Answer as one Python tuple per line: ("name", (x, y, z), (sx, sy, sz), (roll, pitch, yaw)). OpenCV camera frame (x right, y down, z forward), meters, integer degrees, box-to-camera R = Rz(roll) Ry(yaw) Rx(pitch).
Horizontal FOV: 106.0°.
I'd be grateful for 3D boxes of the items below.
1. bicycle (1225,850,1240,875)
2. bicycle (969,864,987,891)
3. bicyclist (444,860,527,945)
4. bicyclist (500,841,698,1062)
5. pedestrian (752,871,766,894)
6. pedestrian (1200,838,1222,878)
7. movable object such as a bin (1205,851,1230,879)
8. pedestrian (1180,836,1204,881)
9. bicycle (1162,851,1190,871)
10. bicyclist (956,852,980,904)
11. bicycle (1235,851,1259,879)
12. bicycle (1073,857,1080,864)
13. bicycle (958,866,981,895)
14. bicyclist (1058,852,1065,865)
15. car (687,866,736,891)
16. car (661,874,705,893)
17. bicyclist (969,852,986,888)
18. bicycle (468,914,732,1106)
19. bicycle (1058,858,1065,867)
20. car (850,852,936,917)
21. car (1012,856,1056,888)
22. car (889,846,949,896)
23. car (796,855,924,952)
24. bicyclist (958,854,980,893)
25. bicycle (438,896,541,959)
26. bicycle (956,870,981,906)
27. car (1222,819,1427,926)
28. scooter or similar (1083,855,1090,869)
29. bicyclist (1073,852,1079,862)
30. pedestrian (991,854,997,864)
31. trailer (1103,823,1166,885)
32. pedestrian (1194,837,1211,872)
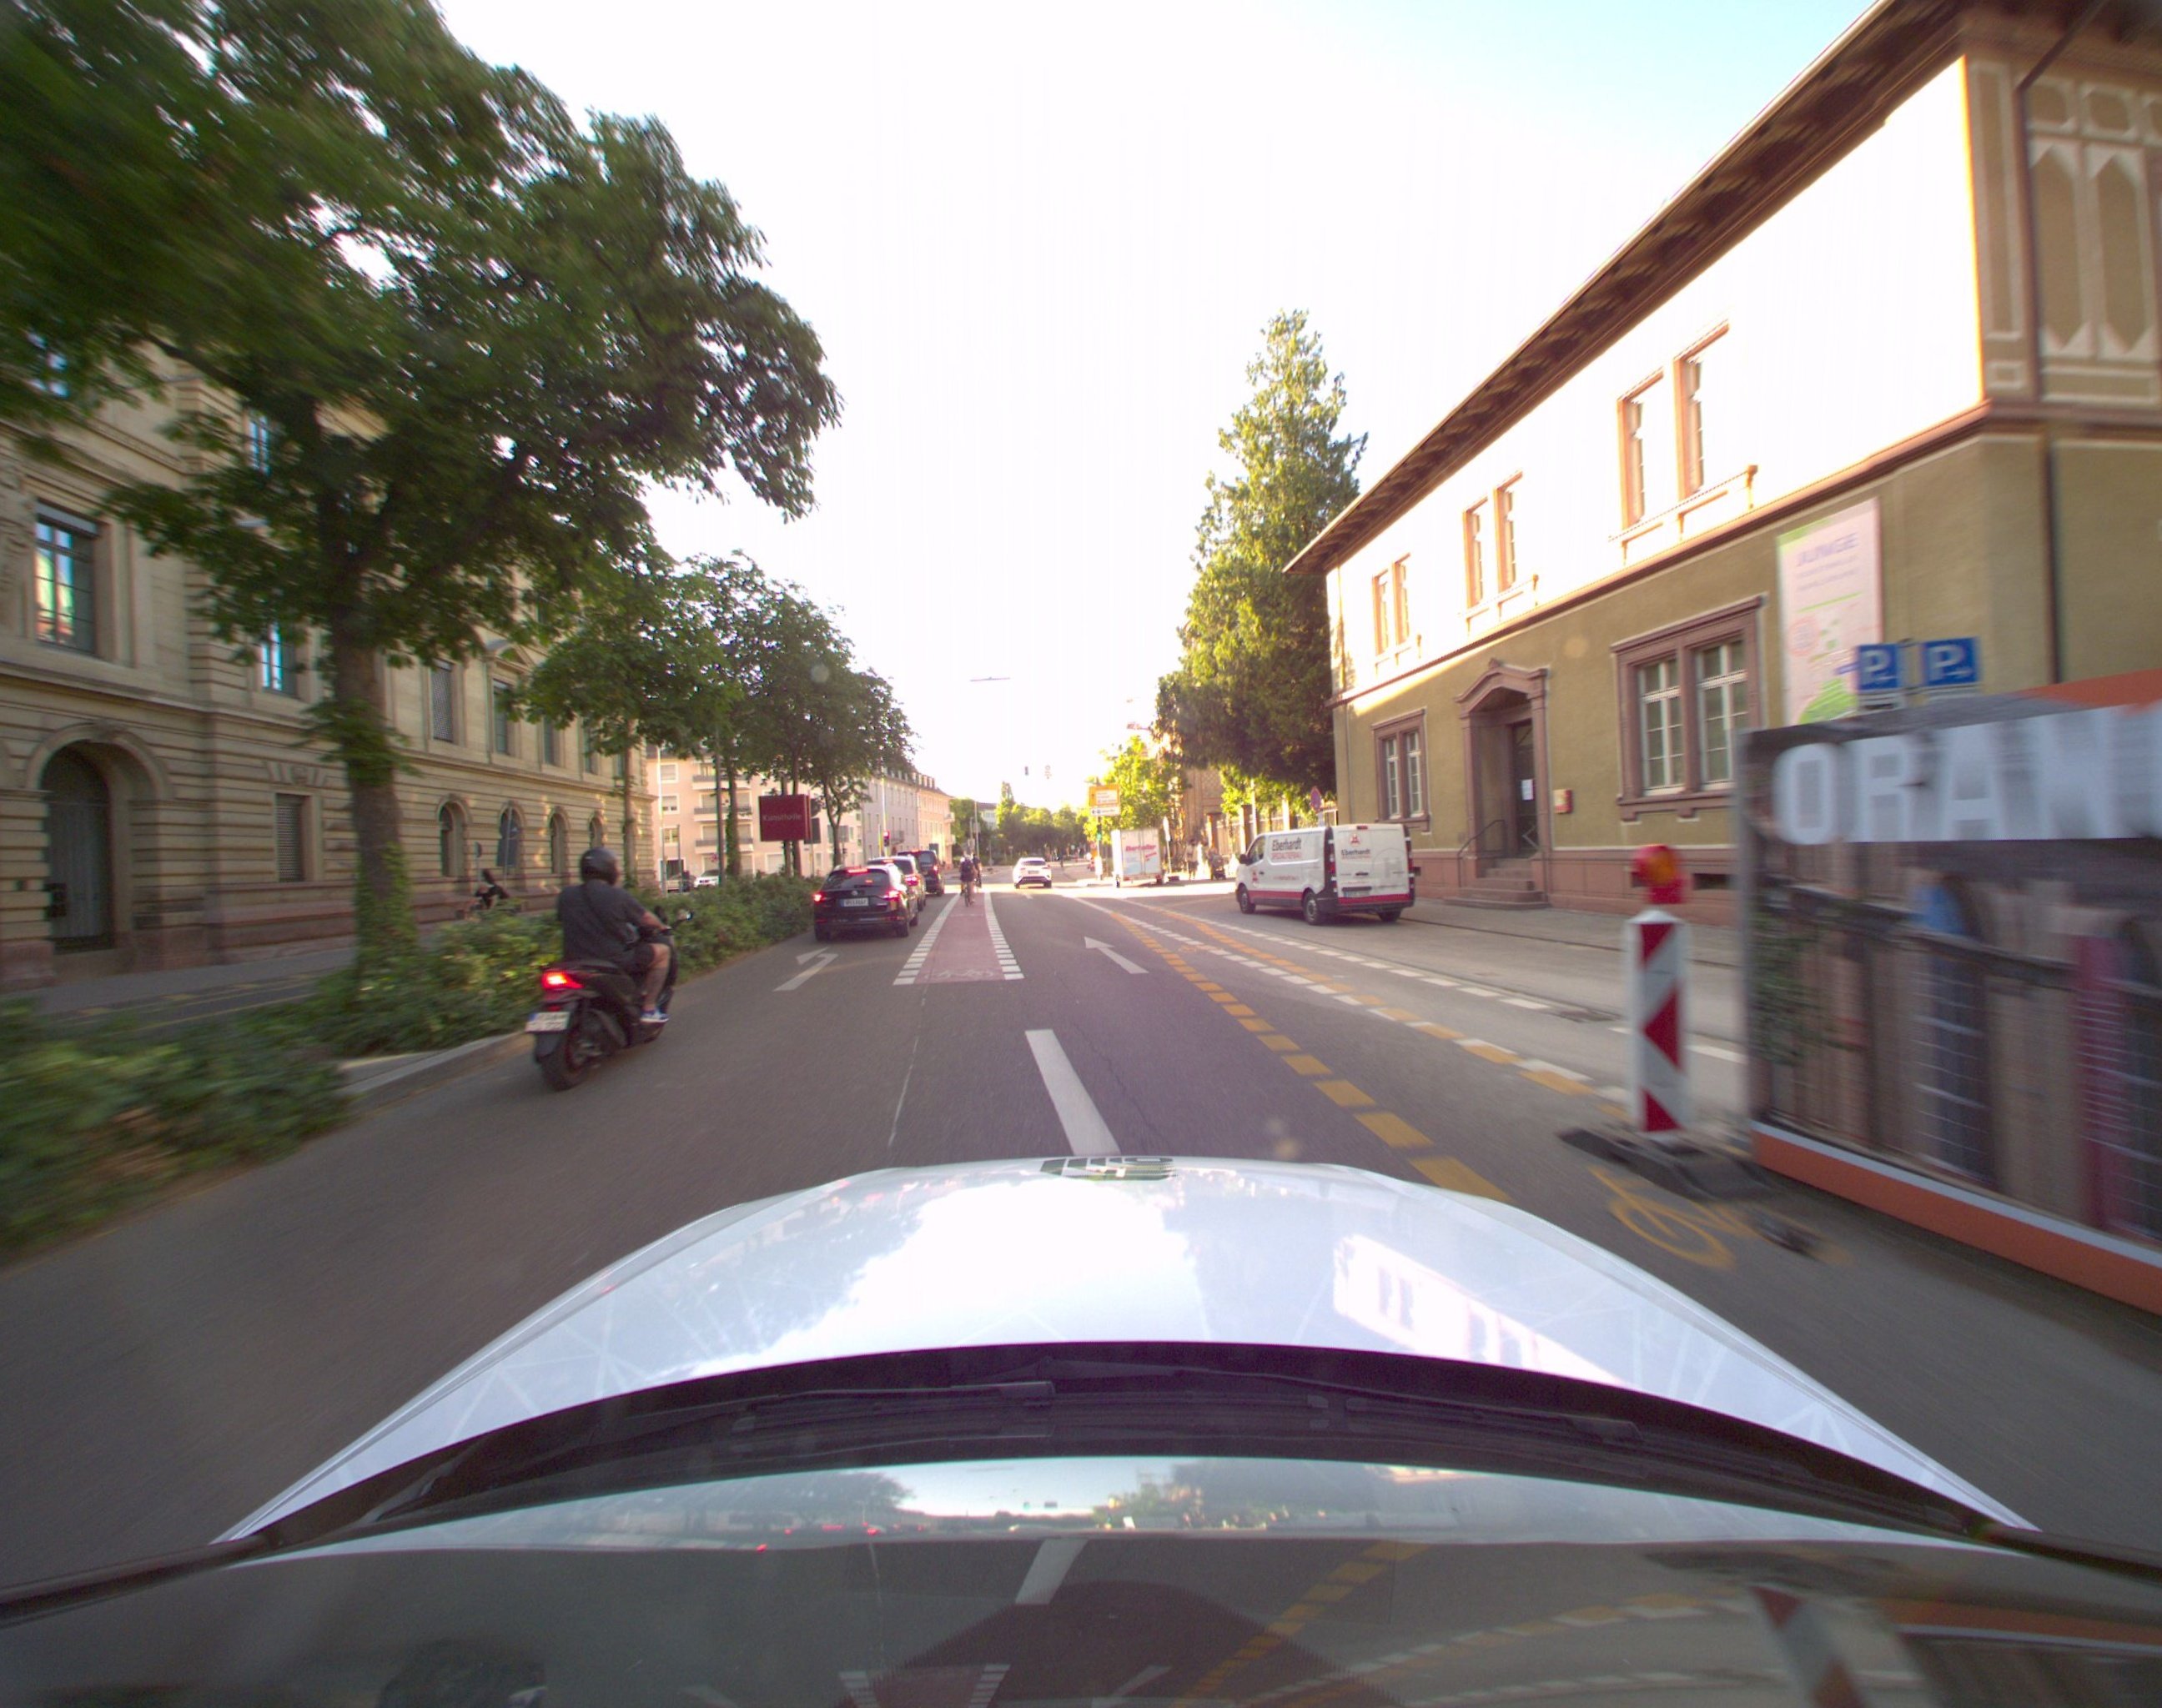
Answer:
("bicycle", (6.961, 0.370, 37.388), (0.273, 1.105, 1.531), (-5, 0, -1))
("bicycle", (-4.775, 1.066, 37.741), (0.641, 1.155, 2.074), (-2, 0, -4))
("bicyclist", (-13.876, 1.092, 19.014), (0.880, 1.834, 1.283), (-6, 0, -6))
("bicyclist", (-3.669, 0.681, 6.334), (0.866, 1.523, 1.228), (-1, 0, -7))
("pedestrian", (-22.937, 2.045, 58.015), (0.629, 1.583, 0.818), (0, 0, -1))
("pedestrian", (5.753, 0.172, 36.120), (0.682, 1.701, 0.692), (-4, 1, -7))
("movable object such as a bin", (5.925, 0.474, 35.314), (0.711, 1.117, 1.048), (-5, 1, -8))
("pedestrian", (4.878, 0.176, 35.742), (0.715, 1.894, 0.887), (-4, 1, -9))
("bicycle", (5.393, 0.405, 46.211), (1.464, 1.039, 0.478), (-4, 0, -6))
("bicyclist", (-3.695, 0.776, 26.687), (0.671, 1.652, 0.885), (-2, 0, -6))
("bicycle", (6.966, 0.444, 34.301), (0.394, 1.130, 1.924), (-3, 0, -6))
("bicycle", (-0.758, 0.975, 128.820), (0.748, 1.026, 1.874), (-2, -1, 10))
("bicycle", (-4.794, 1.117, 35.158), (0.827, 1.143, 1.967), (-2, 0, -4))
("bicyclist", (-2.397, 0.535, 100.958), (0.633, 1.614, 1.285), (-2, 0, 3))
("car", (-29.743, 1.941, 65.702), (1.989, 1.686, 4.609), (-3, 0, -3))
("car", (-31.983, 2.328, 65.571), (1.602, 1.310, 3.996), (-3, 0, -3))
("bicyclist", (-4.792, 0.742, 37.696), (0.669, 1.608, 0.824), (-3, 0, -4))
("bicycle", (-3.672, 1.105, 6.566), (0.869, 1.042, 2.448), (-2, 0, -6))
("bicycle", (-2.380, 1.003, 100.822), (0.640, 1.024, 2.214), (-1, 0, 2))
("car", (-5.854, 0.880, 25.926), (1.989, 1.749, 4.737), (-3, 0, -6))
("car", (-2.441, 0.878, 41.465), (1.991, 1.453, 3.991), (-4, 0, -6))
("car", (-7.062, 0.723, 35.947), (2.066, 1.915, 5.021), (-3, 0, -7))
("car", (-4.500, 0.904, 17.315), (1.993, 1.657, 4.722), (-3, 0, -9))
("bicyclist", (-4.814, 0.845, 35.138), (0.801, 1.608, 0.824), (-3, 0, -4))
("bicycle", (-13.804, 1.676, 19.090), (0.880, 1.194, 2.170), (-6, 0, -6))
("bicycle", (-3.680, 1.099, 26.705), (0.668, 1.072, 1.750), (-2, 0, -5))
("car", (5.085, 0.361, 18.029), (2.015, 1.945, 5.461), (-2, 0, -11))
("scooter or similar", (0.516, 0.726, 76.966), (0.553, 1.308, 1.833), (-3, 0, 2))
("bicyclist", (-0.785, 0.523, 128.793), (0.743, 1.537, 0.972), (-2, 0, 10))
("pedestrian", (-16.306, 0.987, 152.580), (0.851, 1.851, 1.004), (-4, 0, 8))
("trailer", (2.379, -0.016, 37.520), (2.076, 2.528, 4.484), (-5, 0, -5))
("pedestrian", (6.295, 0.018, 42.116), (0.638, 1.768, 0.737), (-3, 0, -3))
